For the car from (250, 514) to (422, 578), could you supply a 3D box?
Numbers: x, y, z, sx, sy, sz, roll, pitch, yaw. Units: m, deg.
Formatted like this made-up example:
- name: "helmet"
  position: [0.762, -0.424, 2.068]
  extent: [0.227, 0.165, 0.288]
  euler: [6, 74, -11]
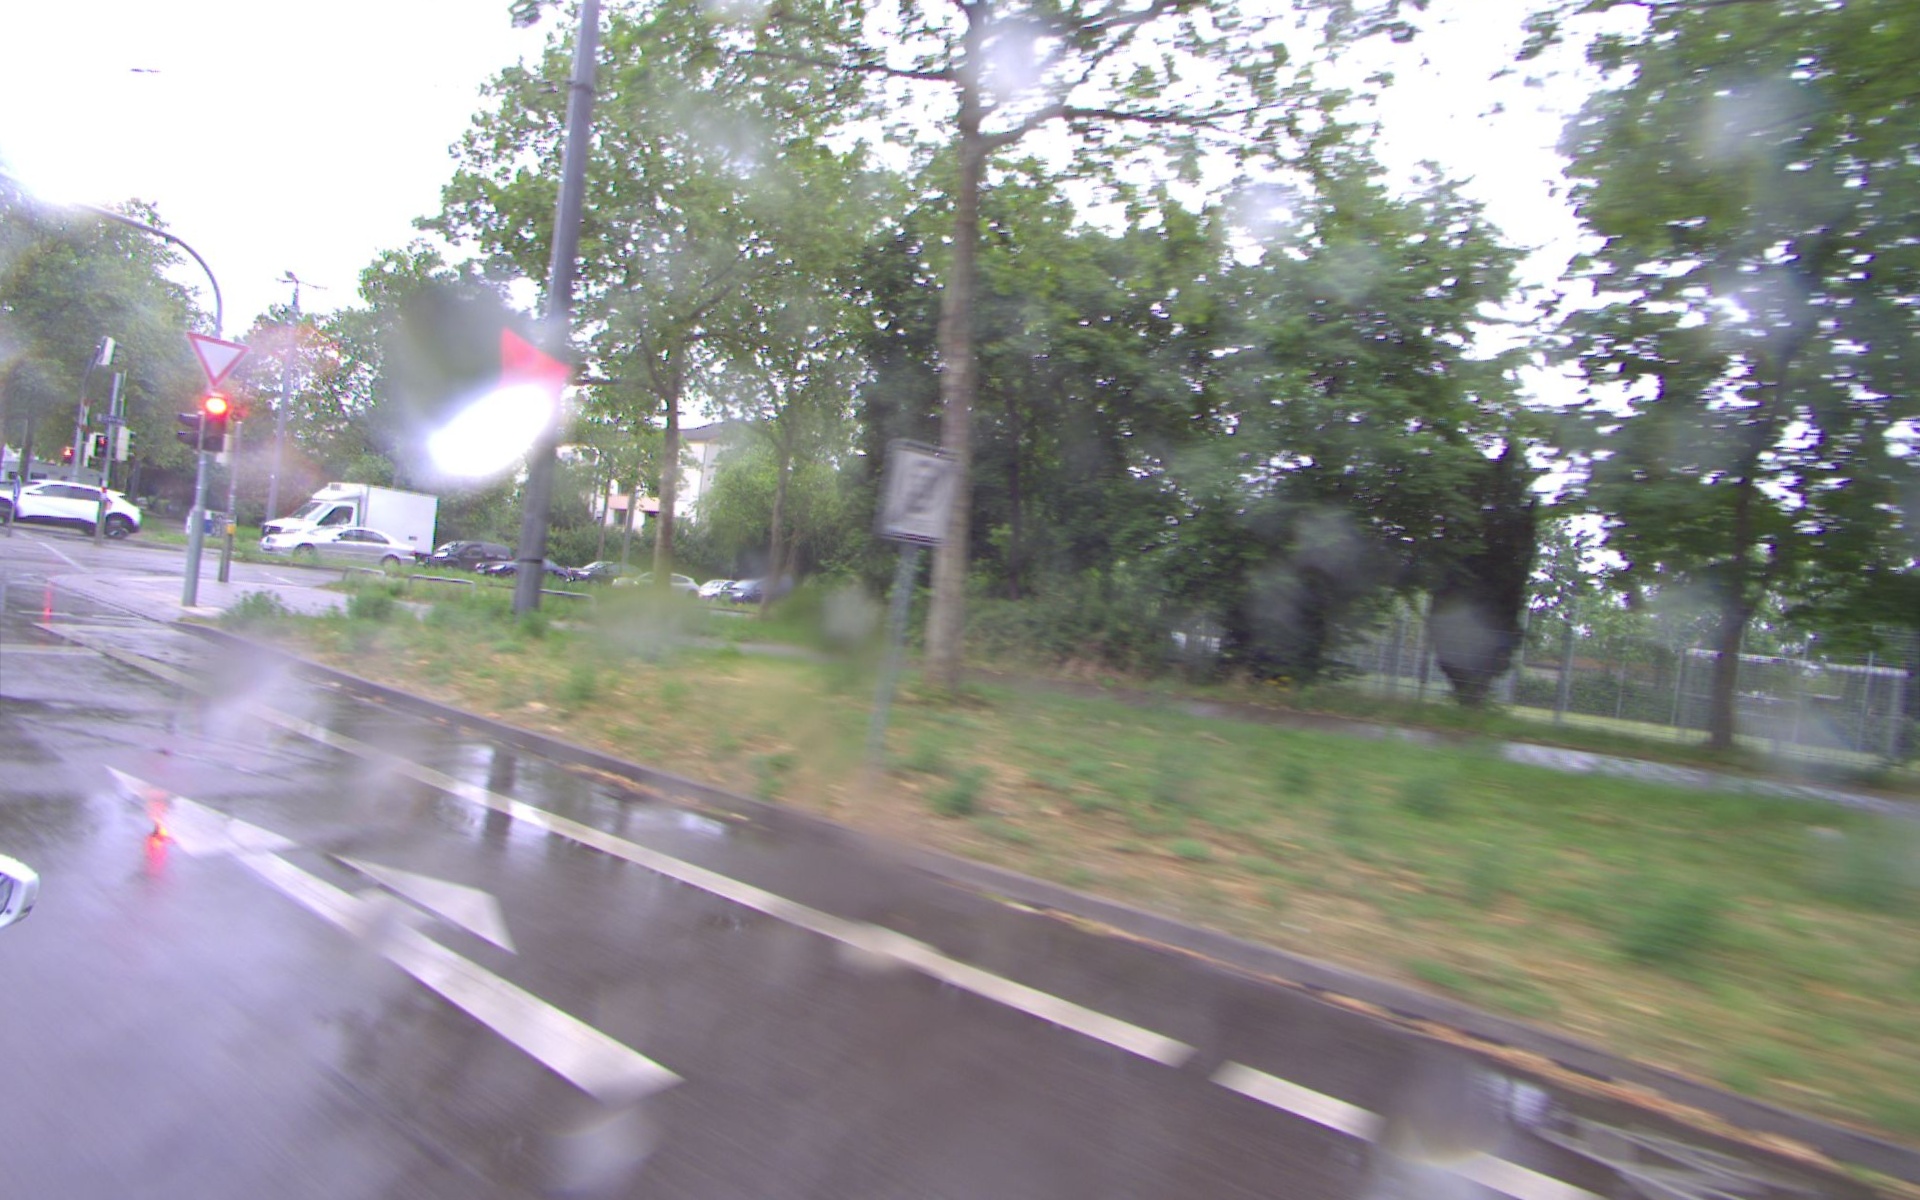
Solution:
- name: "car"
  position: [-20.371, -1.723, 33.056]
  extent: [1.616, 1.406, 4.521]
  euler: [7, -1, 30]

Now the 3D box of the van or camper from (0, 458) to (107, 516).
- name: "van or camper"
  position: [-59.995, -7.418, 66.448]
  extent: [5.202, 2.728, 2.218]
  euler: [10, -2, -40]

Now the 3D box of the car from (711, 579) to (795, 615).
- name: "car"
  position: [-11.264, -0.132, 54.997]
  extent: [1.735, 1.439, 4.670]
  euler: [7, -1, 30]

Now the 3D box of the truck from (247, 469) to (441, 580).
- name: "truck"
  position: [-22.062, -2.625, 36.329]
  extent: [1.947, 3.095, 5.479]
  euler: [7, -1, 30]

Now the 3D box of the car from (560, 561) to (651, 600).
- name: "car"
  position: [-17.972, -0.969, 51.166]
  extent: [1.736, 1.439, 4.128]
  euler: [7, -1, 31]

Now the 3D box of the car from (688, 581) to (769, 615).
- name: "car"
  position: [-13.243, -0.071, 57.917]
  extent: [1.735, 1.439, 4.670]
  euler: [7, -1, 30]

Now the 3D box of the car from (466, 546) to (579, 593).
- name: "car"
  position: [-18.425, -1.262, 42.541]
  extent: [1.616, 1.406, 4.118]
  euler: [7, -1, 30]

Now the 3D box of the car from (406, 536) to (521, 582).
- name: "car"
  position: [-21.912, -1.777, 44.564]
  extent: [1.736, 1.439, 4.207]
  euler: [7, -1, 31]

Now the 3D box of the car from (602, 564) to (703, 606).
- name: "car"
  position: [-14.863, -0.699, 48.892]
  extent: [1.735, 1.439, 4.670]
  euler: [7, -1, 30]

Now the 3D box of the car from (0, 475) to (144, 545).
- name: "car"
  position: [-28.858, -2.893, 31.753]
  extent: [1.623, 1.676, 4.470]
  euler: [7, 0, 27]
